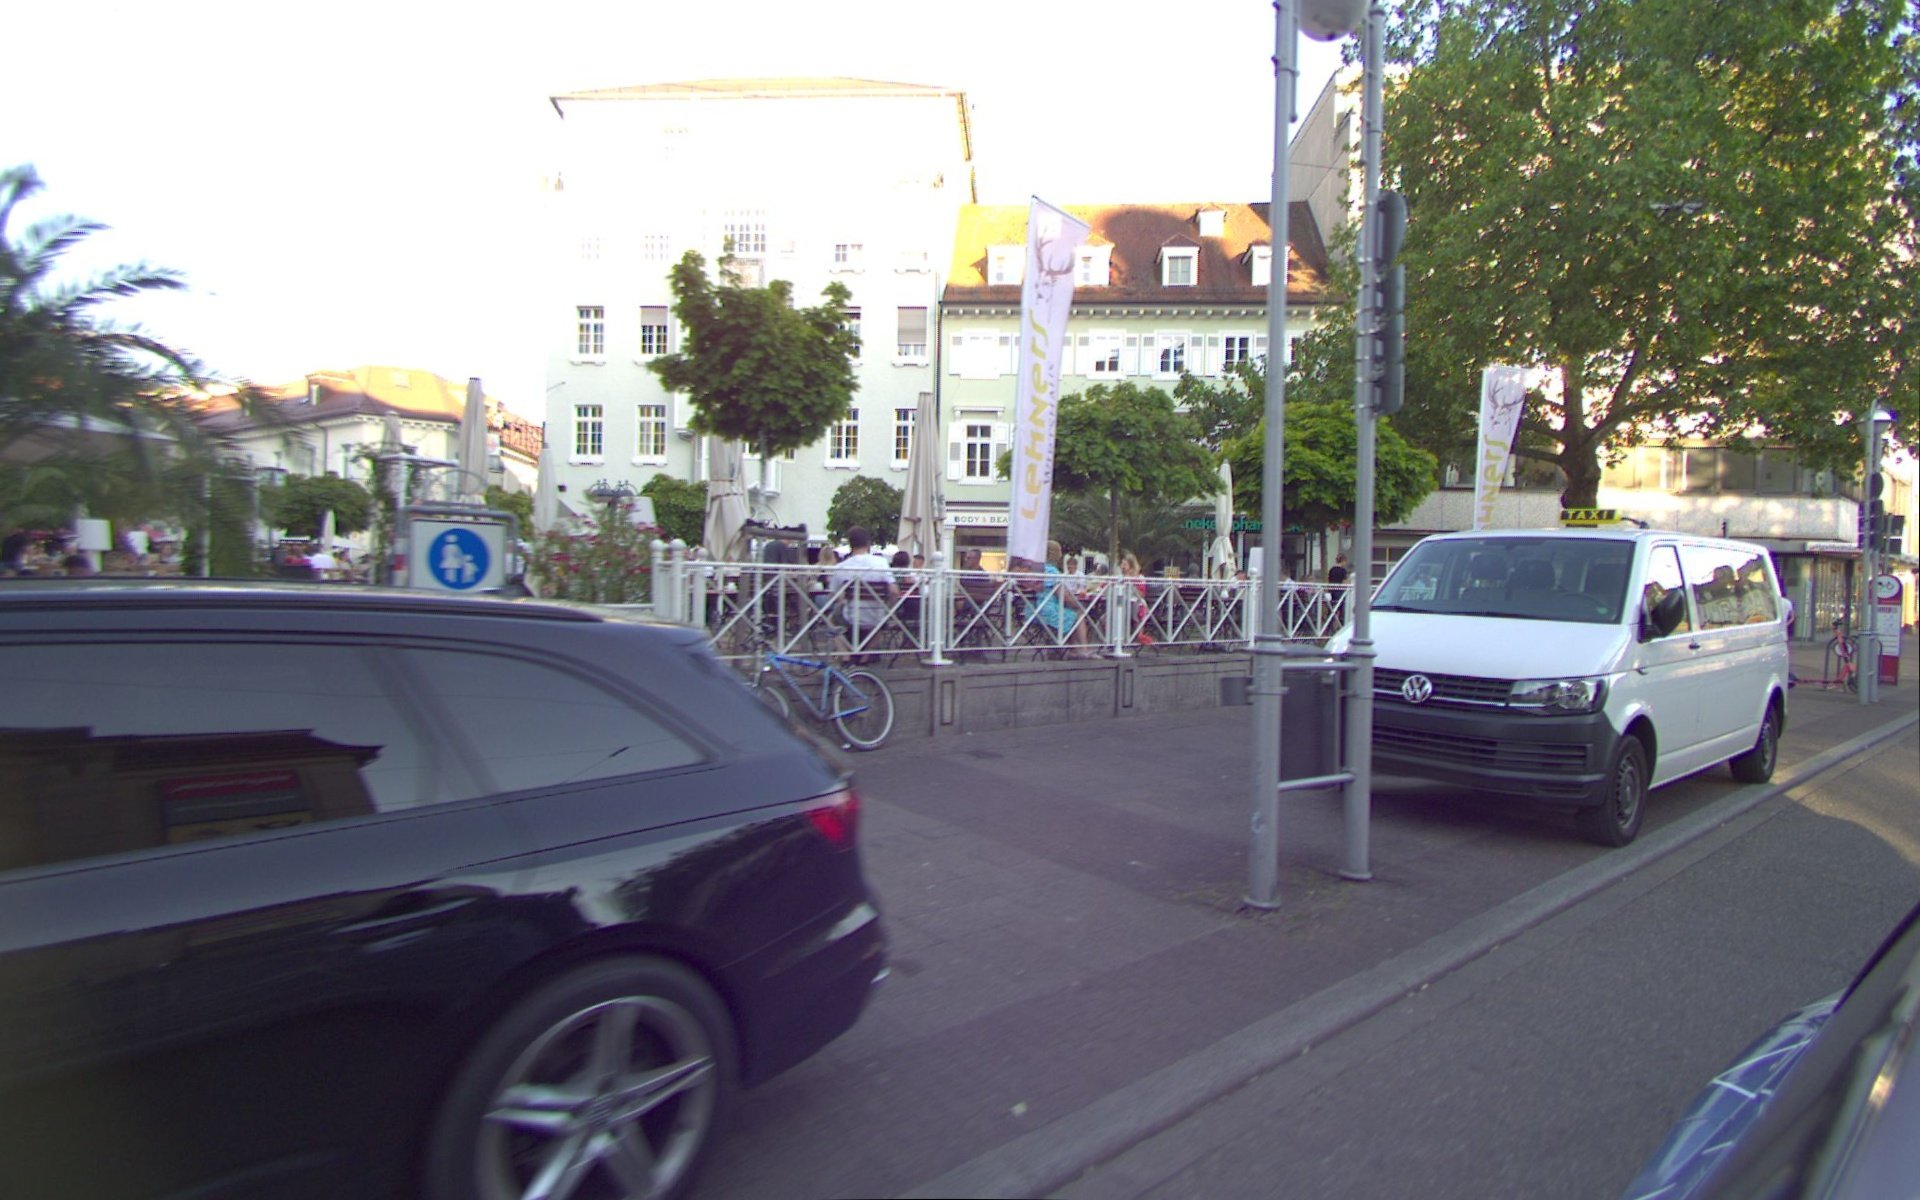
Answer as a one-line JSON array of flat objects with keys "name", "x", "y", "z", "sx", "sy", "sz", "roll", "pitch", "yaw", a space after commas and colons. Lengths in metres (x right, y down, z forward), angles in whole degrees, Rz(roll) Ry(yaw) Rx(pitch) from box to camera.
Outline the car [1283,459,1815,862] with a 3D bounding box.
[{"name": "car", "x": 4.695, "y": 0.284, "z": 7.639, "sx": 5.123, "sy": 2.093, "sz": 1.856, "roll": 0, "pitch": 2, "yaw": -41}]

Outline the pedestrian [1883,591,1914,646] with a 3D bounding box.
[{"name": "pedestrian", "x": 28.468, "y": 0.557, "z": 30.701, "sx": 0.635, "sy": 1.645, "sz": 0.512, "roll": 1, "pitch": 1, "yaw": 39}]

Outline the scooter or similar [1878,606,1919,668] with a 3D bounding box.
[{"name": "scooter or similar", "x": 20.319, "y": 0.769, "z": 21.829, "sx": 1.627, "sy": 1.247, "sz": 0.534, "roll": 0, "pitch": 3, "yaw": -41}]

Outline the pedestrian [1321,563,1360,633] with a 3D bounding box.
[{"name": "pedestrian", "x": 7.312, "y": -0.039, "z": 19.442, "sx": 0.523, "sy": 1.313, "sz": 0.490, "roll": 1, "pitch": 0, "yaw": -40}]

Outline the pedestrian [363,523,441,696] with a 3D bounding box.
[{"name": "pedestrian", "x": -5.745, "y": 0.088, "z": 10.411, "sx": 0.588, "sy": 1.718, "sz": 0.524, "roll": 1, "pitch": 0, "yaw": 43}]

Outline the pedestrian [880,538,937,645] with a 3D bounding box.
[{"name": "pedestrian", "x": -0.669, "y": -0.110, "z": 13.101, "sx": 0.482, "sy": 1.350, "sz": 0.531, "roll": 1, "pitch": 0, "yaw": -40}]

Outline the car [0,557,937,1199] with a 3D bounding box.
[{"name": "car", "x": -2.307, "y": 0.633, "z": 1.803, "sx": 4.468, "sy": 1.407, "sz": 1.700, "roll": 0, "pitch": 3, "yaw": -41}]

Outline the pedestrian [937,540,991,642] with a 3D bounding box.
[{"name": "pedestrian", "x": 0.054, "y": -0.127, "z": 13.752, "sx": 0.482, "sy": 1.350, "sz": 0.531, "roll": 1, "pitch": 0, "yaw": -40}]

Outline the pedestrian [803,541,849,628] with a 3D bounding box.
[{"name": "pedestrian", "x": -2.119, "y": -0.247, "z": 16.021, "sx": 0.523, "sy": 1.350, "sz": 0.490, "roll": 1, "pitch": 0, "yaw": -40}]

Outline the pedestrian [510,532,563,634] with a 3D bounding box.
[{"name": "pedestrian", "x": -5.793, "y": -0.229, "z": 13.837, "sx": 0.523, "sy": 1.350, "sz": 0.490, "roll": 1, "pitch": 0, "yaw": -40}]

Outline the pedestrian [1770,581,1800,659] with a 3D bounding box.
[{"name": "pedestrian", "x": 19.141, "y": 0.460, "z": 23.469, "sx": 0.403, "sy": 1.758, "sz": 0.430, "roll": 1, "pitch": 2, "yaw": -45}]

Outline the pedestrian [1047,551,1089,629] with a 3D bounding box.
[{"name": "pedestrian", "x": 1.911, "y": -0.171, "z": 17.904, "sx": 0.523, "sy": 1.350, "sz": 0.490, "roll": 1, "pitch": 0, "yaw": -40}]

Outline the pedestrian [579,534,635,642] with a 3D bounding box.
[{"name": "pedestrian", "x": -4.550, "y": -0.154, "z": 13.061, "sx": 0.523, "sy": 1.350, "sz": 0.490, "roll": 1, "pitch": 0, "yaw": -40}]

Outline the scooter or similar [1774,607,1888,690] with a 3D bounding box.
[{"name": "scooter or similar", "x": 14.550, "y": 0.781, "z": 16.934, "sx": 0.526, "sy": 1.247, "sz": 1.344, "roll": 0, "pitch": 3, "yaw": -42}]

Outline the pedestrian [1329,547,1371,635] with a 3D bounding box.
[{"name": "pedestrian", "x": 7.092, "y": -0.164, "z": 18.414, "sx": 0.523, "sy": 1.578, "sz": 0.490, "roll": 1, "pitch": 0, "yaw": -40}]

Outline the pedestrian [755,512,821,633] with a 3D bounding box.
[{"name": "pedestrian", "x": -2.508, "y": -0.391, "z": 14.776, "sx": 0.588, "sy": 1.713, "sz": 0.721, "roll": 1, "pitch": 0, "yaw": 43}]

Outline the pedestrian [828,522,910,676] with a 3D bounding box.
[{"name": "pedestrian", "x": -0.803, "y": -0.013, "z": 8.941, "sx": 0.482, "sy": 1.312, "sz": 0.531, "roll": 1, "pitch": 0, "yaw": -40}]

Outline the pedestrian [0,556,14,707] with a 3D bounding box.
[{"name": "pedestrian", "x": -8.911, "y": 0.275, "z": 9.096, "sx": 0.592, "sy": 1.345, "sz": 0.484, "roll": 1, "pitch": 0, "yaw": 37}]

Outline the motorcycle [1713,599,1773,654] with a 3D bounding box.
[{"name": "motorcycle", "x": 18.538, "y": 0.613, "z": 23.946, "sx": 1.933, "sy": 1.200, "sz": 0.705, "roll": 1, "pitch": 2, "yaw": -41}]

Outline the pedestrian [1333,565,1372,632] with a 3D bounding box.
[{"name": "pedestrian", "x": 7.819, "y": -0.036, "z": 20.153, "sx": 0.482, "sy": 1.313, "sz": 0.531, "roll": 1, "pitch": 0, "yaw": -40}]

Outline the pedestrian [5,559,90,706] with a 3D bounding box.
[{"name": "pedestrian", "x": -8.674, "y": 0.287, "z": 9.622, "sx": 0.592, "sy": 1.345, "sz": 0.484, "roll": 1, "pitch": 0, "yaw": 37}]

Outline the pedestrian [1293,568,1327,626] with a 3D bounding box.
[{"name": "pedestrian", "x": 8.023, "y": -0.064, "z": 23.200, "sx": 0.482, "sy": 1.313, "sz": 0.531, "roll": 1, "pitch": 0, "yaw": -40}]

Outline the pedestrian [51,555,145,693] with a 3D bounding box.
[{"name": "pedestrian", "x": -8.773, "y": 0.231, "z": 10.308, "sx": 0.488, "sy": 1.345, "sz": 0.629, "roll": 1, "pitch": 0, "yaw": 37}]

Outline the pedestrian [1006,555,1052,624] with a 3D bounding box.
[{"name": "pedestrian", "x": 1.400, "y": -0.212, "z": 20.410, "sx": 0.653, "sy": 1.350, "sz": 0.628, "roll": 1, "pitch": 0, "yaw": -40}]

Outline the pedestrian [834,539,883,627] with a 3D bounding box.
[{"name": "pedestrian", "x": -1.648, "y": -0.282, "z": 16.420, "sx": 0.588, "sy": 1.394, "sz": 0.524, "roll": 1, "pitch": 0, "yaw": 43}]

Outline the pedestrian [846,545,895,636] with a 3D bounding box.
[{"name": "pedestrian", "x": -1.282, "y": -0.136, "z": 14.606, "sx": 0.486, "sy": 1.282, "sz": 0.527, "roll": 1, "pitch": 0, "yaw": 26}]

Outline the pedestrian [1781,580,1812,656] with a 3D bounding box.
[{"name": "pedestrian", "x": 19.660, "y": 0.419, "z": 23.780, "sx": 0.428, "sy": 1.758, "sz": 0.405, "roll": 3, "pitch": 1, "yaw": 31}]

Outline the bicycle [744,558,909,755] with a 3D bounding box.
[{"name": "bicycle", "x": -1.005, "y": 0.404, "z": 7.787, "sx": 1.268, "sy": 1.409, "sz": 0.344, "roll": 1, "pitch": 0, "yaw": -41}]

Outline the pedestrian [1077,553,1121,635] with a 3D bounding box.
[{"name": "pedestrian", "x": 2.348, "y": -0.099, "z": 17.113, "sx": 0.482, "sy": 1.350, "sz": 0.531, "roll": 1, "pitch": 0, "yaw": -40}]

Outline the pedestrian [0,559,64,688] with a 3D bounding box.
[{"name": "pedestrian", "x": -9.497, "y": 0.223, "z": 10.272, "sx": 0.592, "sy": 1.266, "sz": 0.484, "roll": 1, "pitch": 0, "yaw": 37}]

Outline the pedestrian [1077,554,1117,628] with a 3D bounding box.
[{"name": "pedestrian", "x": 2.555, "y": -0.170, "z": 18.868, "sx": 0.523, "sy": 1.350, "sz": 0.490, "roll": 1, "pitch": 0, "yaw": -40}]

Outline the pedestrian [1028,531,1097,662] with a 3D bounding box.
[{"name": "pedestrian", "x": 1.067, "y": -0.042, "z": 10.517, "sx": 0.529, "sy": 1.312, "sz": 0.484, "roll": 1, "pitch": 0, "yaw": 35}]

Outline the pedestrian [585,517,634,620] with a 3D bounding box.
[{"name": "pedestrian", "x": -5.961, "y": -0.529, "z": 17.218, "sx": 0.530, "sy": 1.718, "sz": 0.581, "roll": 1, "pitch": 0, "yaw": 43}]

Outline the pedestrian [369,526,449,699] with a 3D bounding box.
[{"name": "pedestrian", "x": -5.406, "y": 0.111, "z": 9.930, "sx": 0.552, "sy": 1.629, "sz": 0.524, "roll": 1, "pitch": 0, "yaw": 43}]

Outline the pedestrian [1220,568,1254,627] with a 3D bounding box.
[{"name": "pedestrian", "x": 6.297, "y": -0.065, "z": 23.002, "sx": 0.482, "sy": 1.313, "sz": 0.531, "roll": 1, "pitch": 0, "yaw": -40}]
